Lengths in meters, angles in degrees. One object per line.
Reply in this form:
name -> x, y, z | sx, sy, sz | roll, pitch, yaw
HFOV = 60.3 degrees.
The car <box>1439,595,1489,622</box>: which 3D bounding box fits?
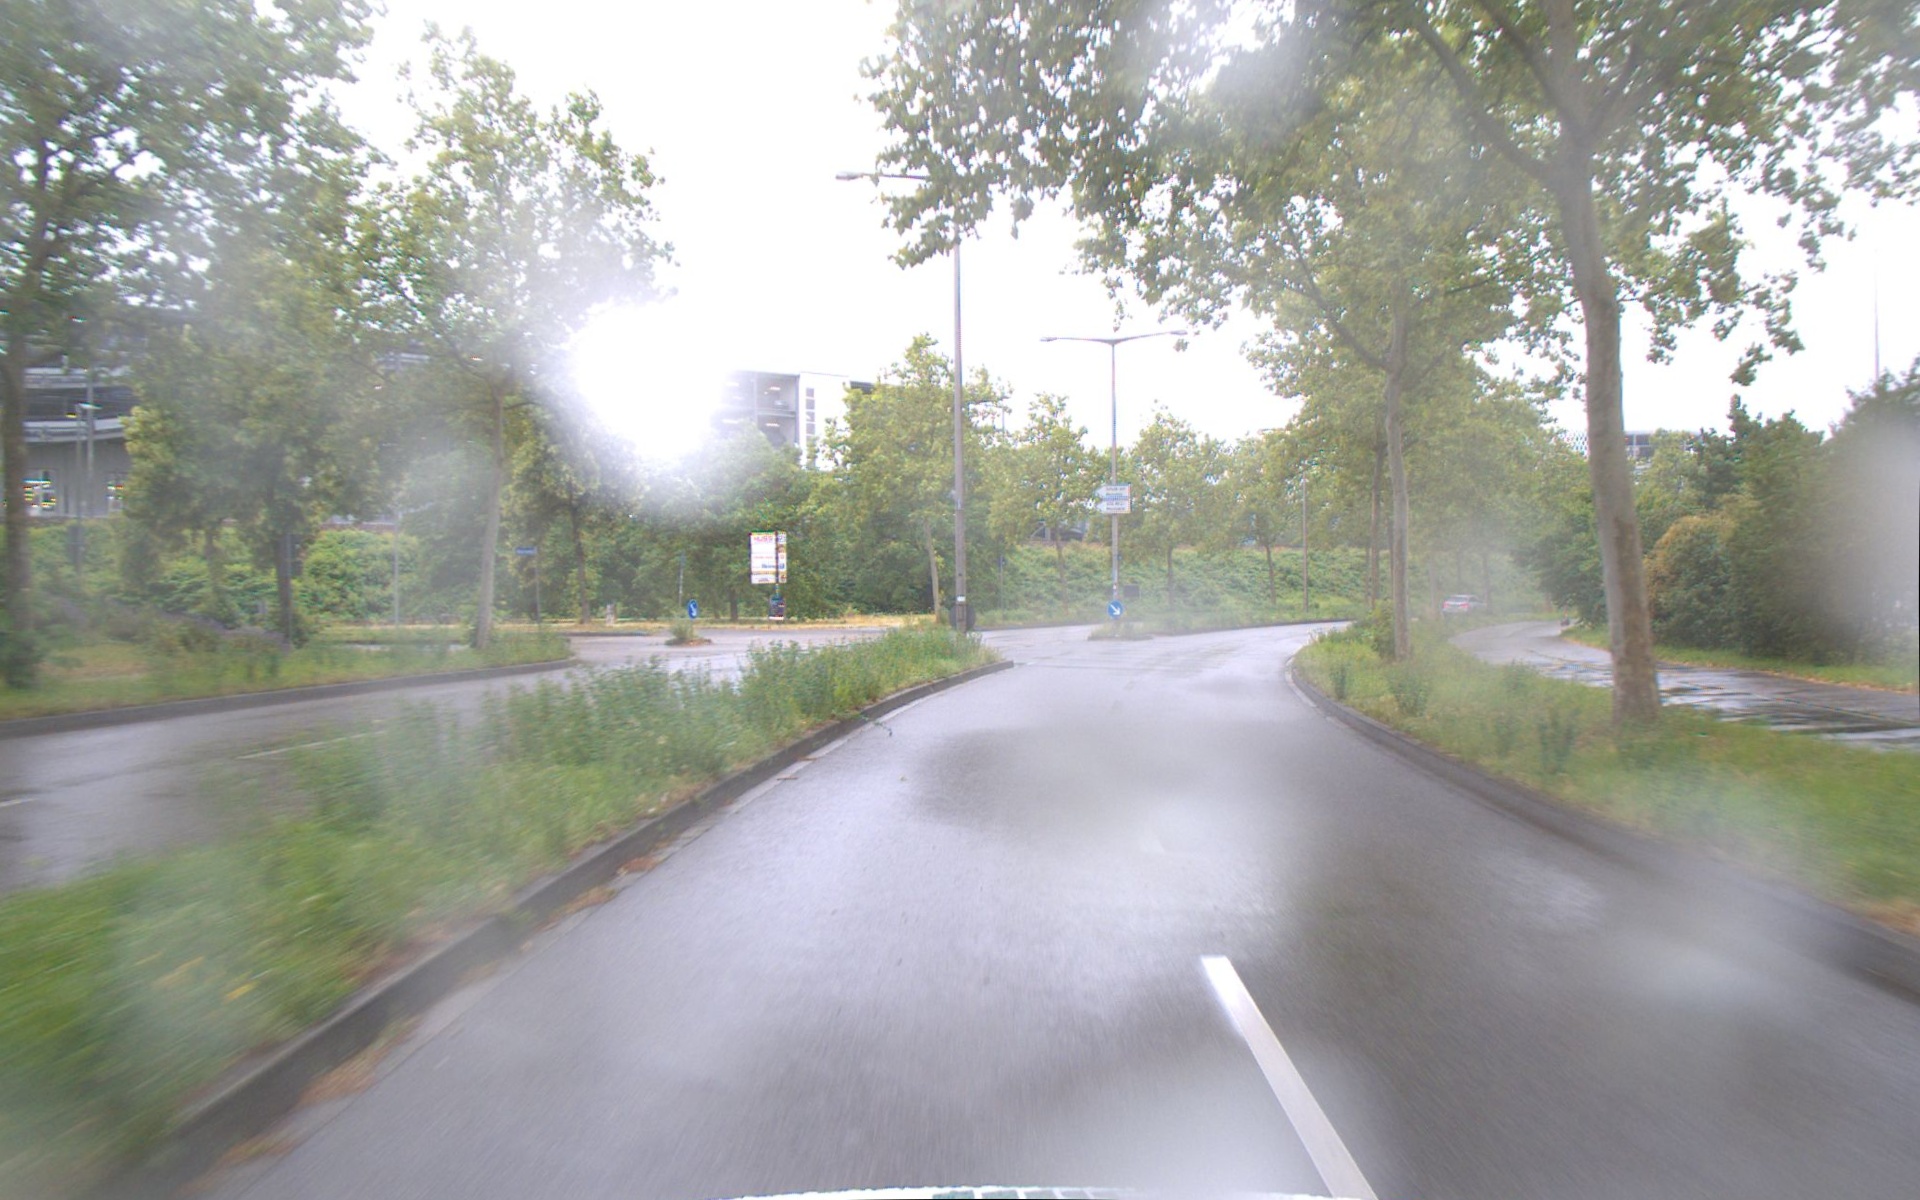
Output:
car -> 31.494, 0.512, 103.281 | 1.750, 1.582, 3.984 | 2, 1, 37
